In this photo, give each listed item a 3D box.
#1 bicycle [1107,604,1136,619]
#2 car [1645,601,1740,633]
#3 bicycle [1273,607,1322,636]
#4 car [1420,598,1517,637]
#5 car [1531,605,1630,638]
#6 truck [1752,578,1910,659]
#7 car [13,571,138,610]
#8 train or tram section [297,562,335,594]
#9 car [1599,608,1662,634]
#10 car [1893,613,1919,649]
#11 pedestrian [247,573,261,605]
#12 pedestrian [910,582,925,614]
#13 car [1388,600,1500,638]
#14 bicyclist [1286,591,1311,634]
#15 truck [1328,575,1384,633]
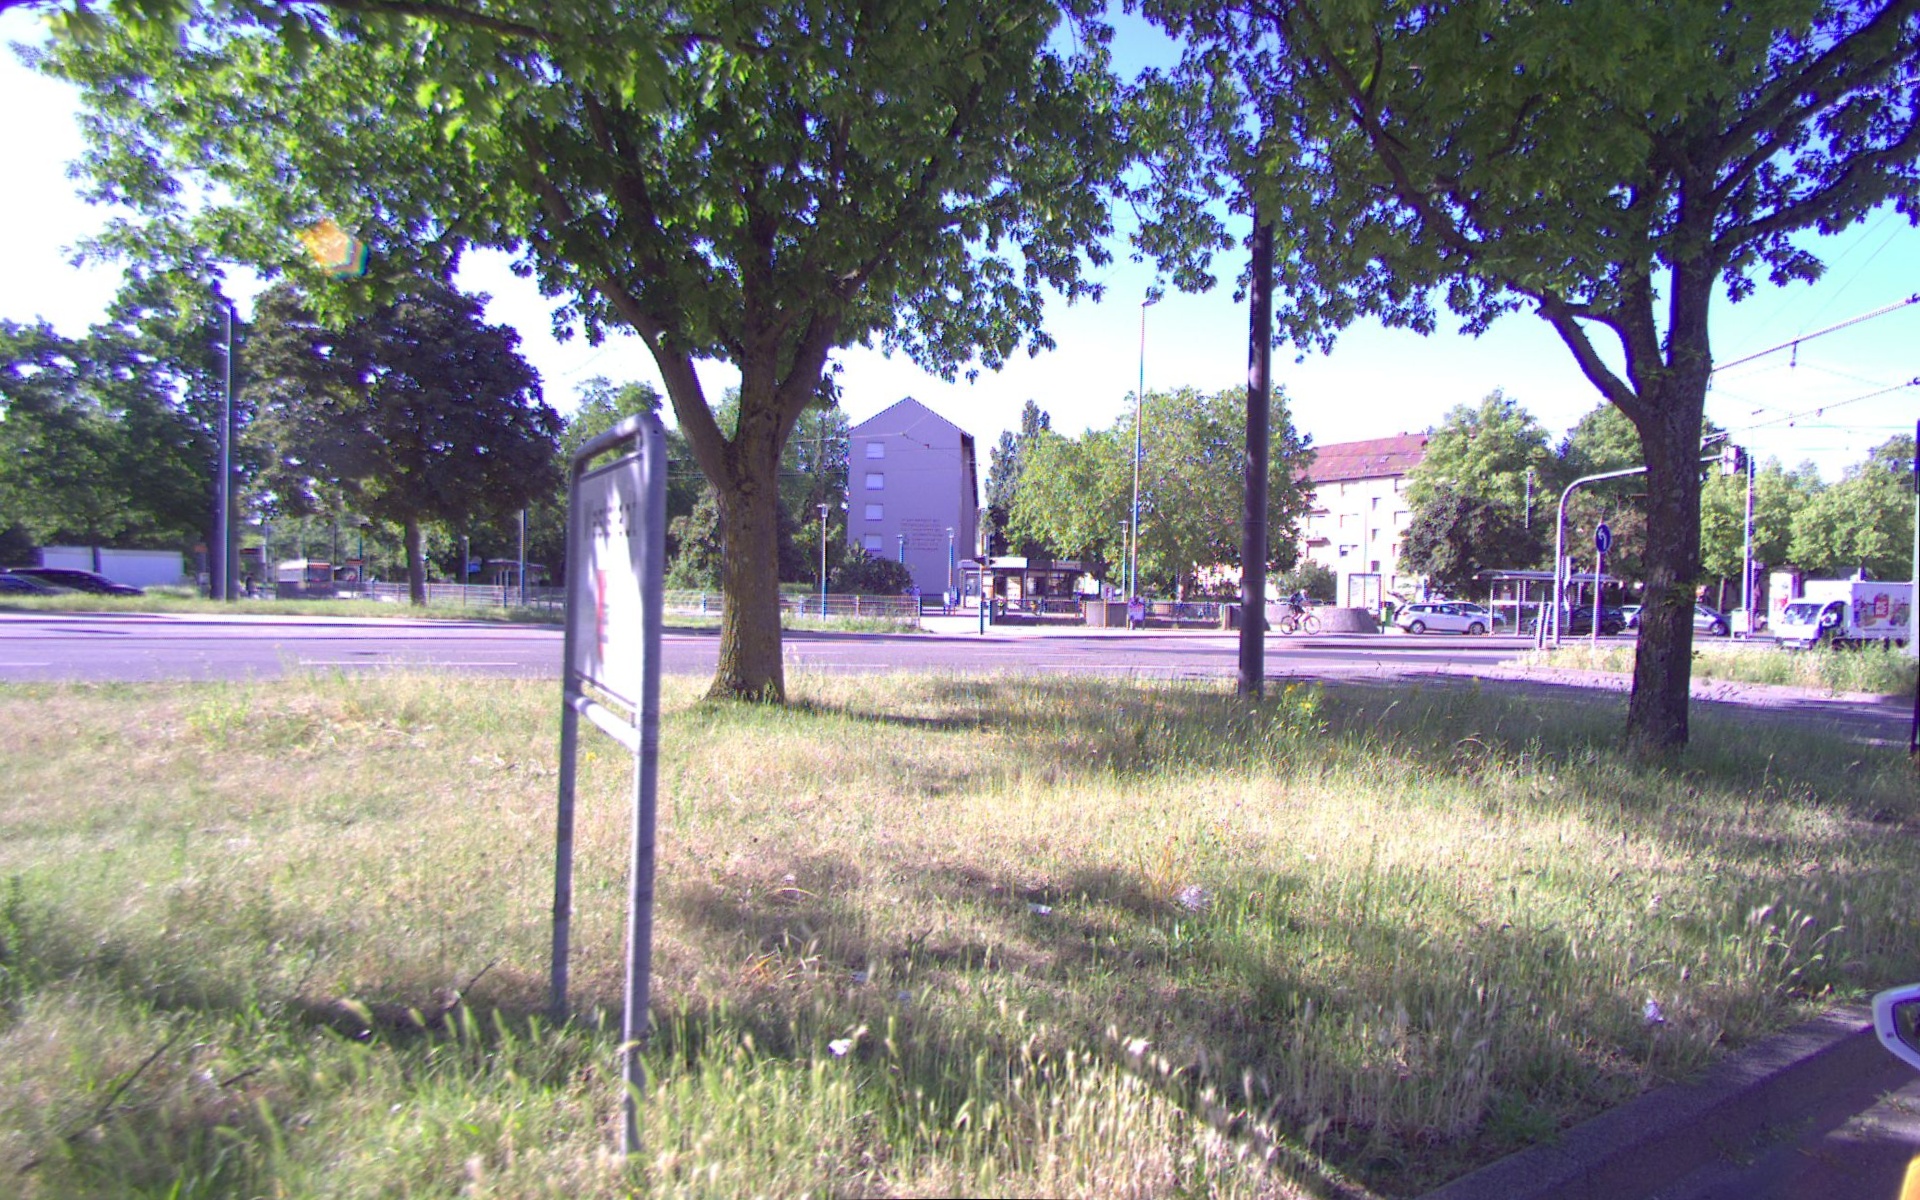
[{"bbox_3d":[9.463,0.665,58.829,1.652,0.850,0.548,2,1,16],"label":"bicycle"},{"bbox_3d":[40.801,0.944,56.000,1.986,1.593,3.949,1,1,-43],"label":"car"},{"bbox_3d":[12.586,0.804,37.478,1.627,1.015,0.613,0,2,-7],"label":"bicycle"},{"bbox_3d":[25.462,0.865,50.393,3.923,1.741,1.762,1,4,-4],"label":"car"},{"bbox_3d":[30.663,1.063,49.715,3.936,1.509,1.760,0,4,-10],"label":"car"},{"bbox_3d":[28.065,0.587,32.404,4.040,2.459,1.789,1,1,-14],"label":"truck"},{"bbox_3d":[-38.203,-0.395,43.475,3.970,1.588,1.975,1,1,-42],"label":"car"},{"bbox_3d":[-66.985,-2.308,104.238,2.445,2.979,19.643,1,1,-35],"label":"train or tram section"},{"bbox_3d":[45.331,1.421,67.900,4.174,1.639,1.752,1,1,-29],"label":"car"},{"bbox_3d":[44.673,1.473,44.951,1.962,1.593,3.997,2,1,-4],"label":"car"},{"bbox_3d":[-41.524,-0.660,59.083,0.580,1.880,0.632,1,1,-42],"label":"pedestrian"},{"bbox_3d":[-2.503,-0.132,59.130,0.714,1.854,0.558,1,1,-10],"label":"pedestrian"},{"bbox_3d":[23.111,0.876,48.121,4.457,1.565,1.873,2,3,12],"label":"car"},{"bbox_3d":[12.620,0.454,37.462,0.663,1.551,0.613,0,2,-8],"label":"bicyclist"},{"bbox_3d":[21.762,0.165,55.364,1.959,3.035,4.831,1,1,11],"label":"truck"}]
